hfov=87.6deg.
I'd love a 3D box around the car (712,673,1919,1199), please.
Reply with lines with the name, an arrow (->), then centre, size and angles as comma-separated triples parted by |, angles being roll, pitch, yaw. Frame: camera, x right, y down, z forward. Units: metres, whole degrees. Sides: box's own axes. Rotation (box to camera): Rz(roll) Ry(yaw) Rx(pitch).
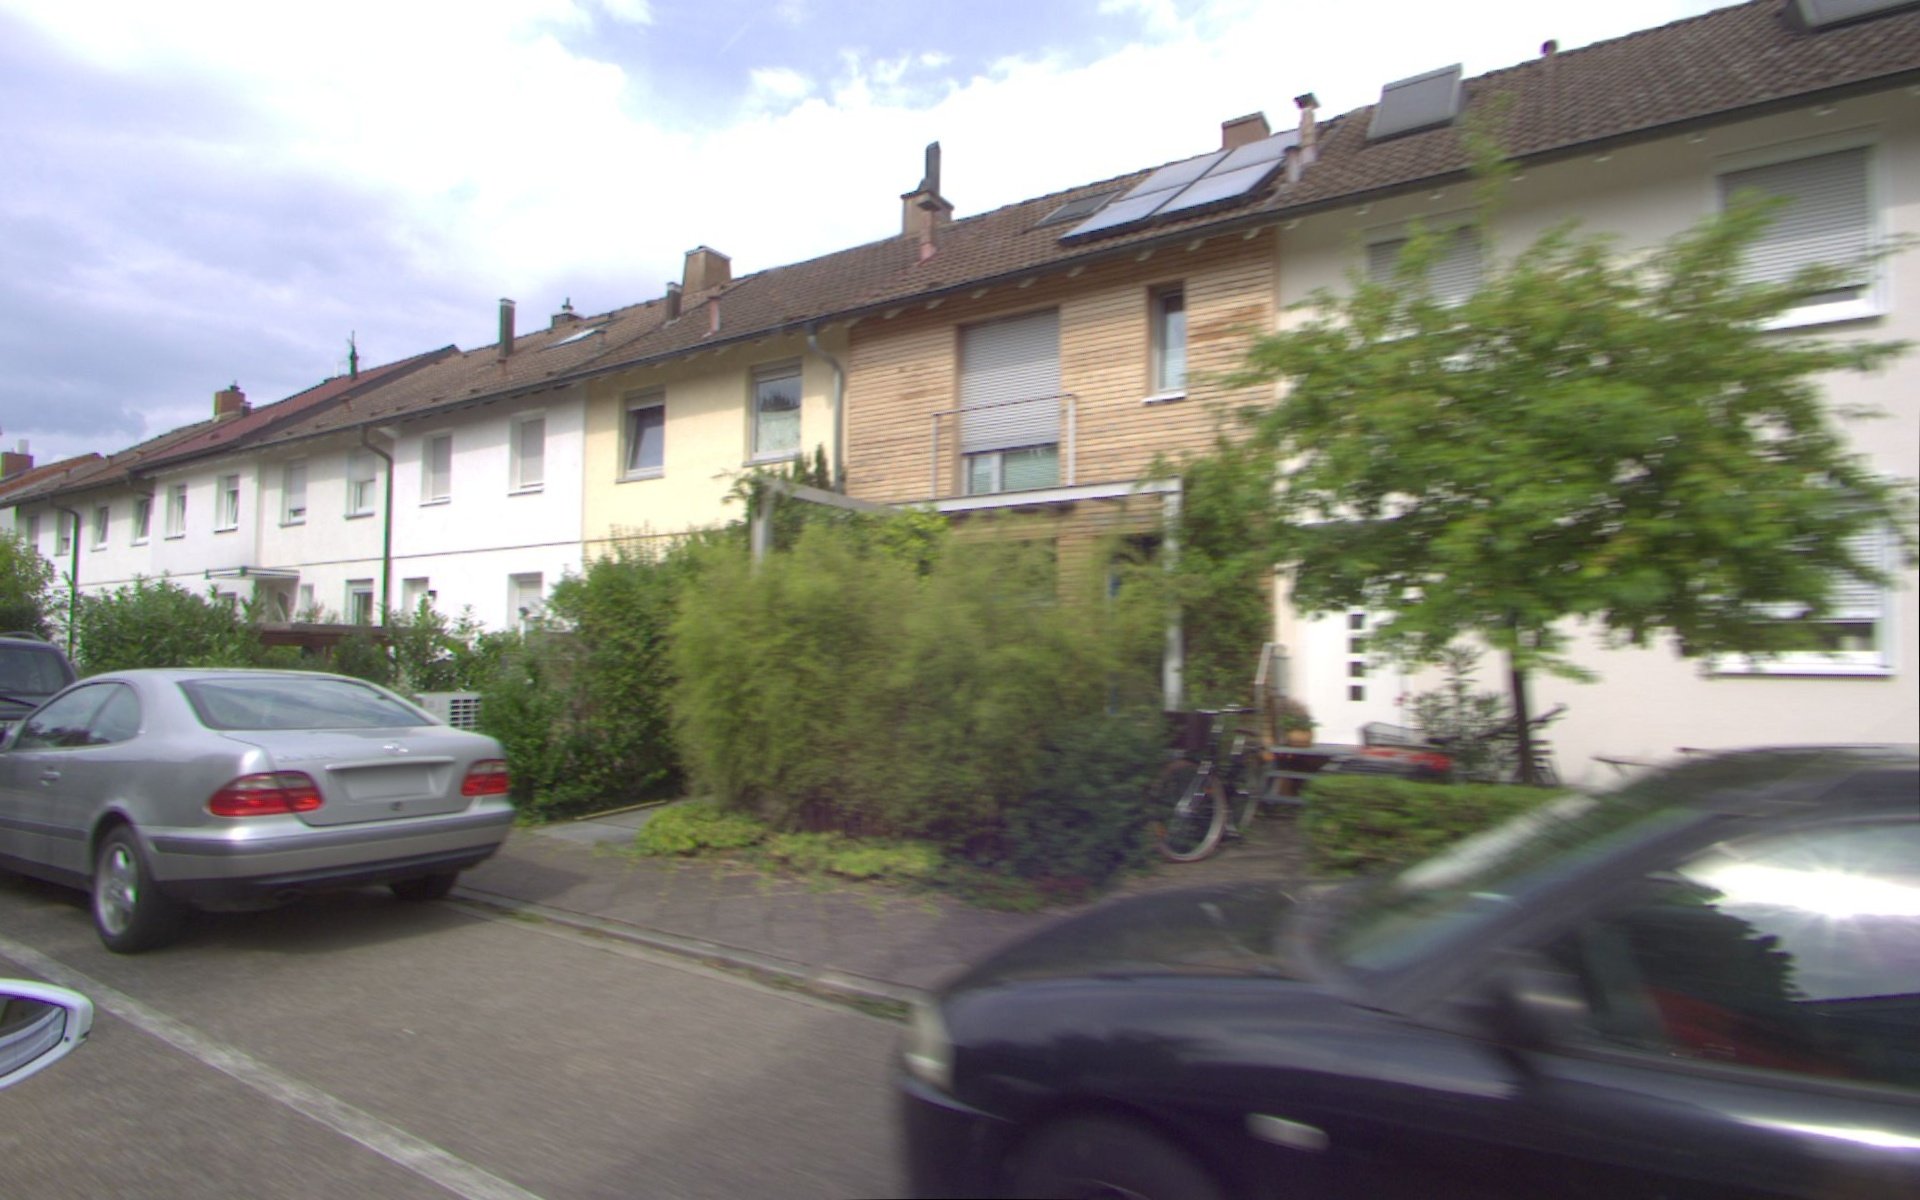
car -> 1.601, 0.916, 2.093 | 4.065, 1.445, 1.732 | -1, -4, 30

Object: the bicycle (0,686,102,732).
bicycle -> -19.353, 2.300, 21.330 | 0.731, 0.876, 1.593 | 0, -3, 1

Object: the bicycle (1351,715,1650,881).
bicycle -> 3.709, 1.344, 7.022 | 1.720, 0.994, 0.661 | 0, -2, 13

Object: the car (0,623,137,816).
car -> -10.200, 1.073, 9.819 | 4.398, 1.673, 1.866 | -1, -4, 31

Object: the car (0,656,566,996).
car -> -4.873, 1.113, 6.363 | 4.697, 1.424, 1.867 | -1, -5, 30

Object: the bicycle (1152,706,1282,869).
bicycle -> 1.962, 1.342, 7.506 | 0.371, 1.035, 1.534 | -1, -3, 37
